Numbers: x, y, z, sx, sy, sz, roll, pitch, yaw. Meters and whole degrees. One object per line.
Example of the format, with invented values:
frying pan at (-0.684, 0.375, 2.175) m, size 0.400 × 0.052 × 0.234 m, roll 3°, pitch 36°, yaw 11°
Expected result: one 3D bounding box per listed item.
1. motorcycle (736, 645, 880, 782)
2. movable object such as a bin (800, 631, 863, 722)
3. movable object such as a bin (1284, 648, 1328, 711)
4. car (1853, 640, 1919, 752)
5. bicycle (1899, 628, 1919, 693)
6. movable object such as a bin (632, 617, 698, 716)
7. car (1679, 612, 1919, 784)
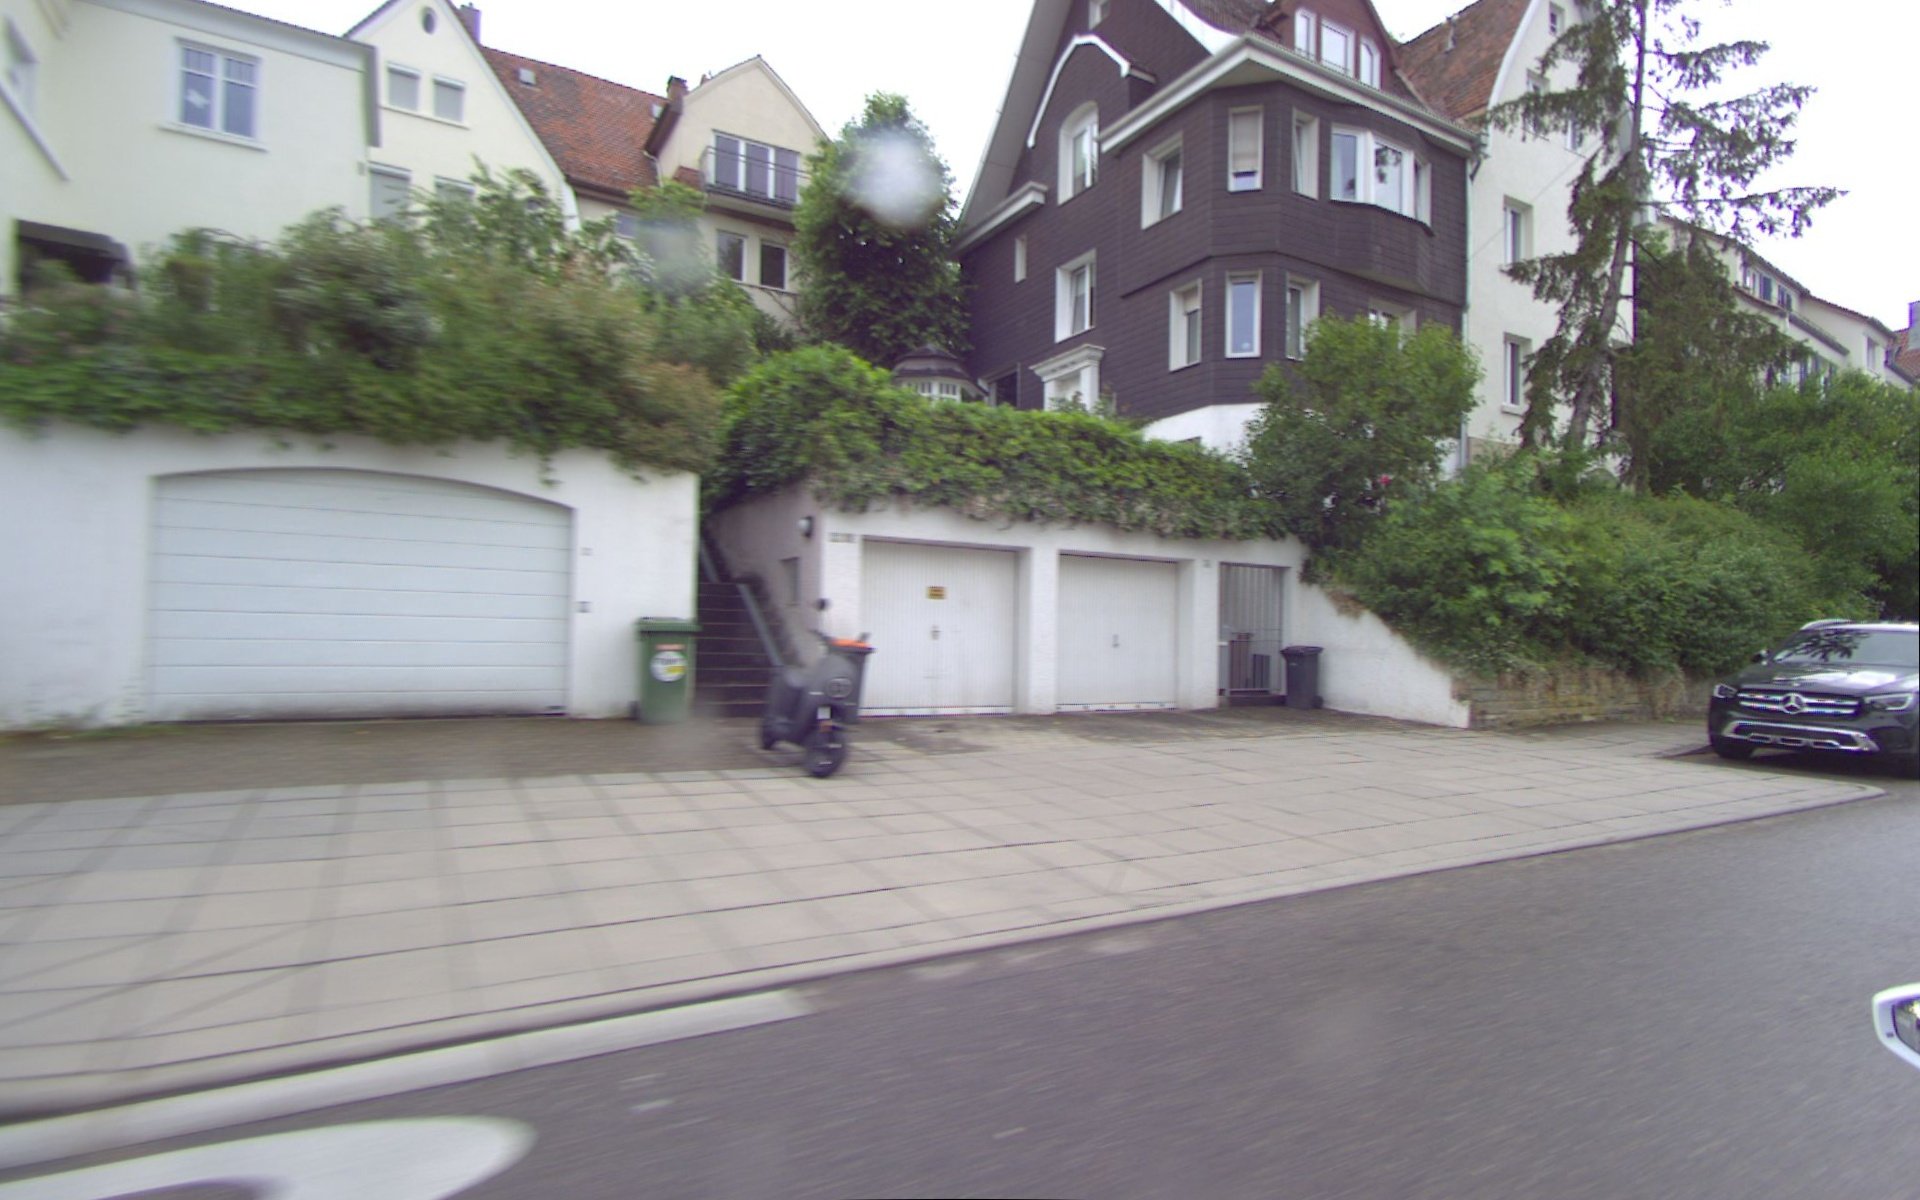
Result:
motorcycle at (-1.343, 0.907, 8.571) m, size 0.596 × 0.915 × 1.785 m, roll 2°, pitch 1°, yaw -30°
movable object such as a bin at (-1.442, 0.842, 11.254) m, size 0.508 × 0.966 × 0.570 m, roll 0°, pitch 0°, yaw -34°
movable object such as a bin at (5.199, 1.182, 15.118) m, size 0.609 × 0.901 × 0.488 m, roll 0°, pitch 0°, yaw 16°
car at (14.851, 1.355, 14.495) m, size 3.769 × 1.466 × 1.884 m, roll 0°, pitch 0°, yaw -31°
bicycle at (20.779, 1.261, 21.039) m, size 2.263 × 1.319 × 0.999 m, roll 0°, pitch 0°, yaw -30°
movable object such as a bin at (-3.027, 0.667, 10.305) m, size 0.508 × 0.966 × 0.570 m, roll 0°, pitch 0°, yaw -34°
car at (10.506, 1.028, 11.698) m, size 4.328 × 1.644 × 1.884 m, roll 2°, pitch -1°, yaw -31°
